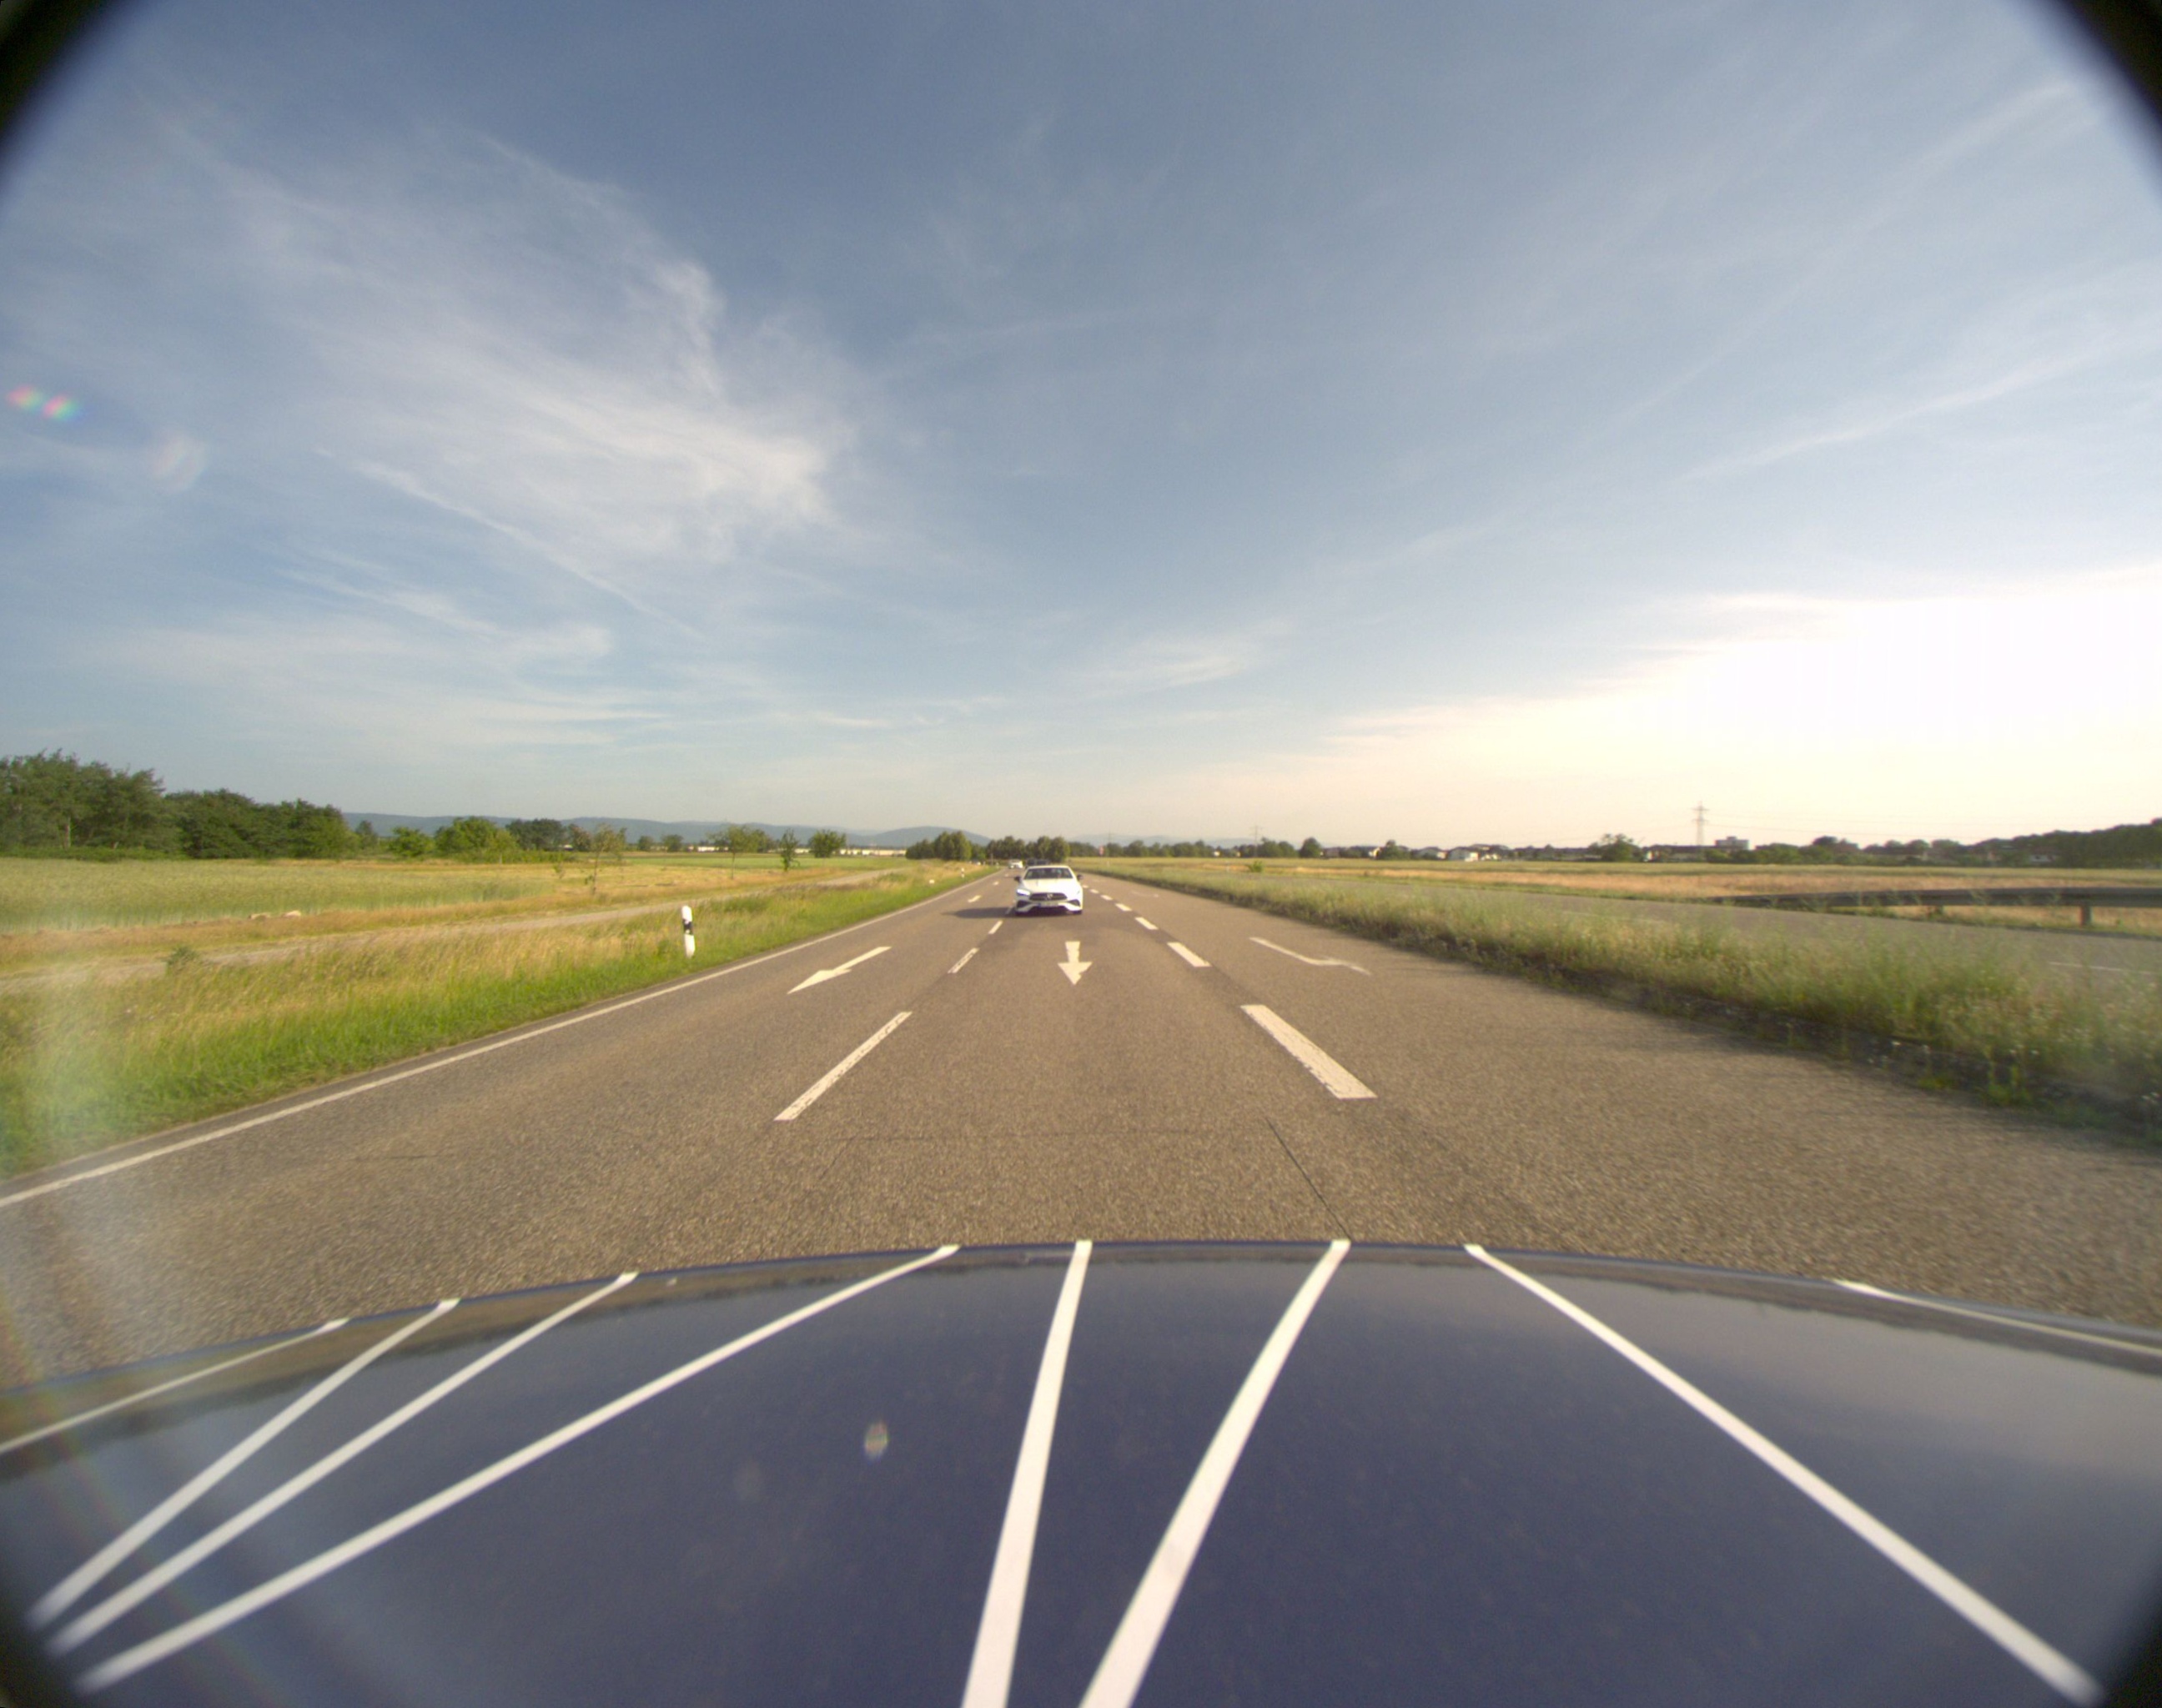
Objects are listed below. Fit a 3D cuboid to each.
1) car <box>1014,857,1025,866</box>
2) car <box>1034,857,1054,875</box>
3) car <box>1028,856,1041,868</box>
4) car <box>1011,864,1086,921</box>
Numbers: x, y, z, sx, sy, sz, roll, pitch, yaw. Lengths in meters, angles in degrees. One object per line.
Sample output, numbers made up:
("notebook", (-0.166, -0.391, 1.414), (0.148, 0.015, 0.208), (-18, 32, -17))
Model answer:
("car", (-9.983, 1.269, 124.322), (1.557, 1.391, 4.035), (-1, 0, -1))
("car", (-3.227, 1.011, 66.338), (1.585, 1.496, 3.660), (-1, 0, -1))
("car", (-6.004, 1.048, 97.691), (1.557, 1.550, 3.048), (-1, 0, -1))
("car", (-0.903, 1.045, 22.109), (1.941, 1.389, 3.918), (-2, 0, -1))
